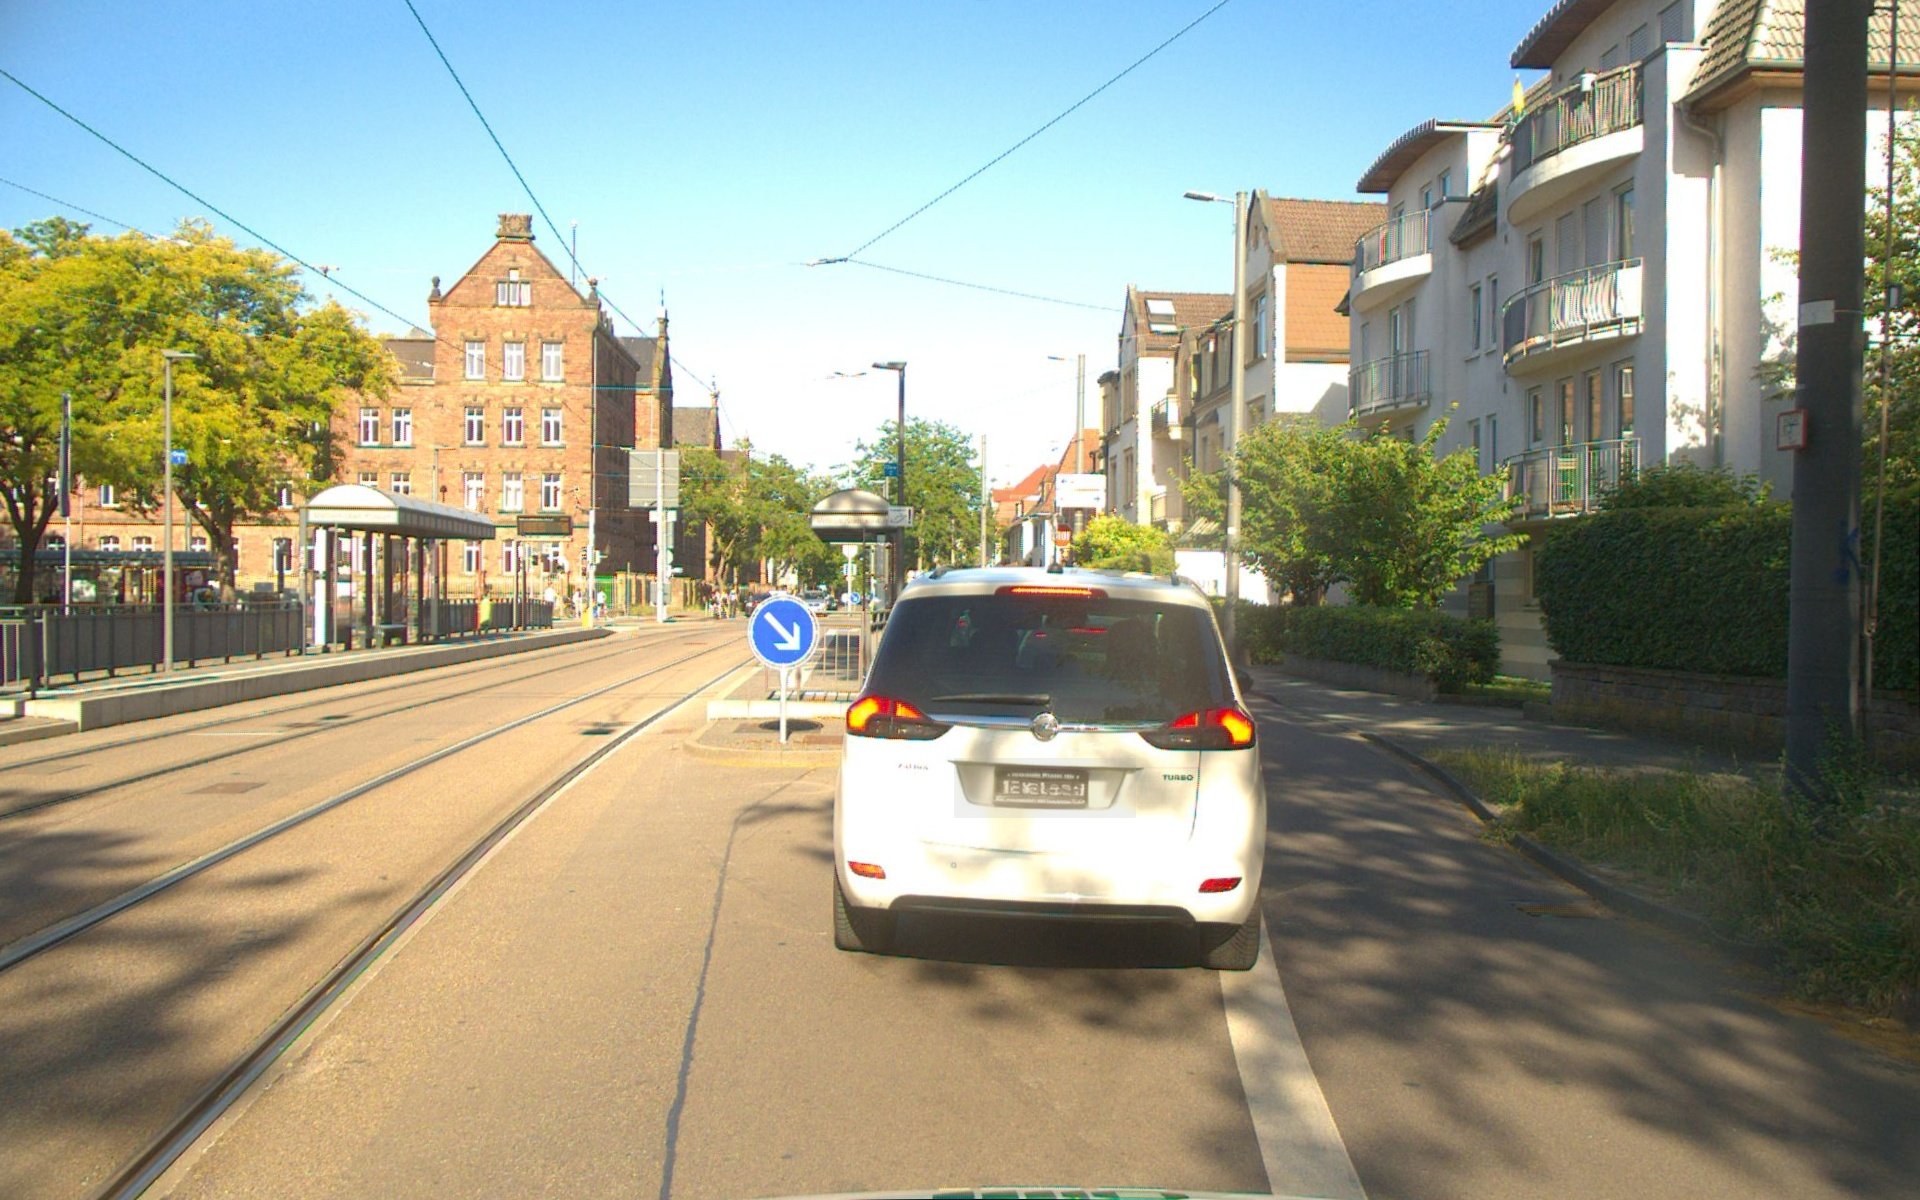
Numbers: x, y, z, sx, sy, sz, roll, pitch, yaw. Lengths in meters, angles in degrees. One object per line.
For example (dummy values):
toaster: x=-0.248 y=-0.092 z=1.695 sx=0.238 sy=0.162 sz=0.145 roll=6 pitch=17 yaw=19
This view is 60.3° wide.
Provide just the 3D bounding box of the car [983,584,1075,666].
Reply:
car: x=1.452 y=0.502 z=36.121 sx=1.868 sy=1.690 sz=4.000 roll=0 pitch=0 yaw=0

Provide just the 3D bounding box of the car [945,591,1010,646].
car: x=0.511 y=0.553 z=53.084 sx=1.869 sy=1.690 sz=3.998 roll=0 pitch=0 yaw=-2

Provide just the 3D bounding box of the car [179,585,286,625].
car: x=-32.436 y=0.222 z=73.825 sx=3.908 sy=1.658 sz=1.817 roll=1 pitch=0 yaw=-4

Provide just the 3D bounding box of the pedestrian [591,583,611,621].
pedestrian: x=-19.266 y=0.110 z=88.654 sx=0.789 sy=2.049 sz=0.711 roll=1 pitch=-1 yaw=-38

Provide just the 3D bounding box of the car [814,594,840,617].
car: x=-10.339 y=0.435 z=128.903 sx=1.711 sy=1.746 sz=3.999 roll=1 pitch=0 yaw=-1

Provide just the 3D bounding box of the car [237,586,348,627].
car: x=-28.105 y=0.268 z=69.751 sx=3.908 sy=1.658 sz=1.817 roll=1 pitch=0 yaw=-4

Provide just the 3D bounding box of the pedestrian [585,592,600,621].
pedestrian: x=-21.118 y=0.367 z=94.968 sx=0.640 sy=1.640 sz=0.711 roll=1 pitch=-1 yaw=1

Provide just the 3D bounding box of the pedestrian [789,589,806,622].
pedestrian: x=-9.573 y=0.346 z=97.590 sx=0.732 sy=1.934 sz=0.804 roll=1 pitch=-1 yaw=-25

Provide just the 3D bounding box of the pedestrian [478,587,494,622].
pedestrian: x=-25.170 y=0.231 z=87.844 sx=0.754 sy=1.805 sz=0.717 roll=1 pitch=-1 yaw=-18

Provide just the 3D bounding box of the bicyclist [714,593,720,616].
bicyclist: x=-15.091 y=0.286 z=102.806 sx=0.307 sy=1.469 sz=0.384 roll=0 pitch=0 yaw=-1

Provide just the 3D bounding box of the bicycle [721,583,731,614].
bicycle: x=-15.399 y=-0.095 z=108.916 sx=0.477 sy=2.049 sz=1.405 roll=0 pitch=0 yaw=-1

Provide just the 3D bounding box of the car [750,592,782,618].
car: x=-13.291 y=0.352 z=113.502 sx=1.711 sy=1.746 sz=3.999 roll=1 pitch=0 yaw=-1

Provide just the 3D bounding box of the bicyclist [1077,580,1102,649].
bicyclist: x=3.267 y=0.369 z=41.832 sx=0.603 sy=1.716 sz=0.779 roll=0 pitch=0 yaw=3

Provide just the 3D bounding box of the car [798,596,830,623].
car: x=-9.438 y=0.615 z=107.205 sx=1.711 sy=1.746 sz=3.999 roll=1 pitch=0 yaw=-1

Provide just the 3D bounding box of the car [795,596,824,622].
car: x=-10.454 y=0.592 z=115.047 sx=1.711 sy=1.746 sz=3.999 roll=1 pitch=0 yaw=-1

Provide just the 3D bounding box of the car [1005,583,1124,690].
car: x=1.794 y=0.576 z=28.288 sx=1.867 sy=1.690 sz=4.002 roll=0 pitch=0 yaw=4

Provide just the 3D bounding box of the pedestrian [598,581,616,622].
pedestrian: x=-18.071 y=0.087 z=84.696 sx=0.782 sy=2.049 sz=0.717 roll=1 pitch=-1 yaw=-18

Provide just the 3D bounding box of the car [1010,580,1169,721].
car: x=1.753 y=0.585 z=21.627 sx=1.866 sy=1.653 sz=4.003 roll=0 pitch=0 yaw=6

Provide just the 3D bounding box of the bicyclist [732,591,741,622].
bicyclist: x=-15.084 y=0.421 z=111.689 sx=0.478 sy=2.049 sz=0.502 roll=1 pitch=-1 yaw=-1

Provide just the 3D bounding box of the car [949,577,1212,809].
car: x=1.072 y=0.648 z=13.776 sx=1.866 sy=1.625 sz=4.003 roll=0 pitch=0 yaw=6

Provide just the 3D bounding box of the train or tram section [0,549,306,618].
train or tram section: x=-40.738 y=-0.760 z=79.428 sx=17.048 sy=3.210 sz=3.343 roll=0 pitch=0 yaw=-6

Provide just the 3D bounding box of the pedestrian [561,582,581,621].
pedestrian: x=-20.697 y=0.083 z=88.028 sx=0.788 sy=2.049 sz=0.712 roll=1 pitch=-1 yaw=-34

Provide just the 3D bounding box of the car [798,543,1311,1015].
car: x=0.554 y=0.632 z=8.035 sx=1.866 sy=1.690 sz=4.003 roll=0 pitch=0 yaw=6

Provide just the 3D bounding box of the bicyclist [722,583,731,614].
bicyclist: x=-15.397 y=-0.092 z=108.930 sx=0.488 sy=2.049 sz=0.572 roll=0 pitch=0 yaw=-1

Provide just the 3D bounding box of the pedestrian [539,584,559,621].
pedestrian: x=-22.033 y=0.142 z=88.655 sx=0.791 sy=1.934 sz=0.744 roll=1 pitch=-1 yaw=13

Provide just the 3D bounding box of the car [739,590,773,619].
car: x=-13.146 y=0.293 z=106.837 sx=1.711 sy=1.746 sz=3.999 roll=1 pitch=0 yaw=-1
